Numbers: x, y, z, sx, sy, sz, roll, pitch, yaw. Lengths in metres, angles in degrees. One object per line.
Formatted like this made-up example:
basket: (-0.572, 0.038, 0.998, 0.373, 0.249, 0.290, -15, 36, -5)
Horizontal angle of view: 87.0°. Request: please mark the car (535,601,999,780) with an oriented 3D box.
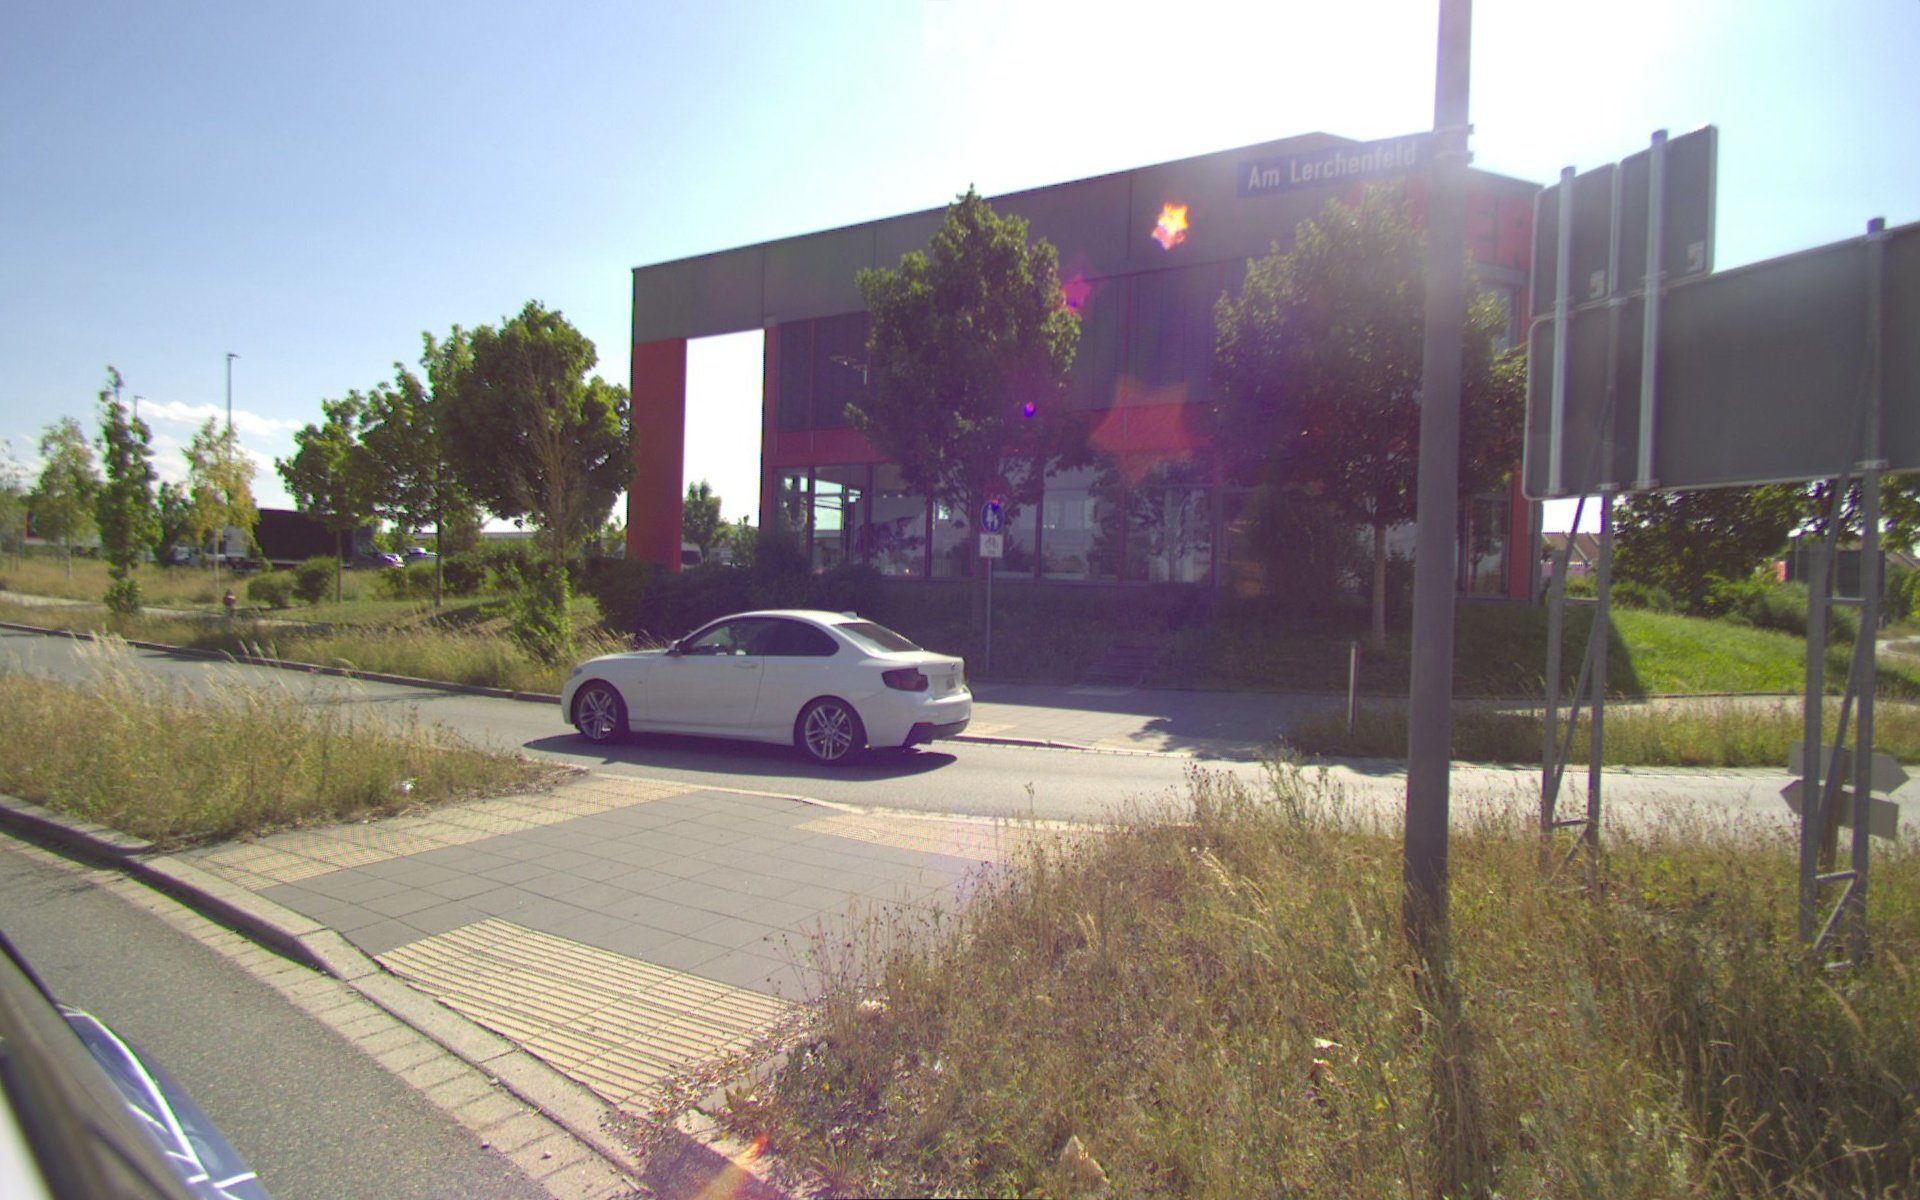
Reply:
car: (-1.956, 0.810, 10.349, 4.350, 1.426, 1.785, 2, -1, 21)
